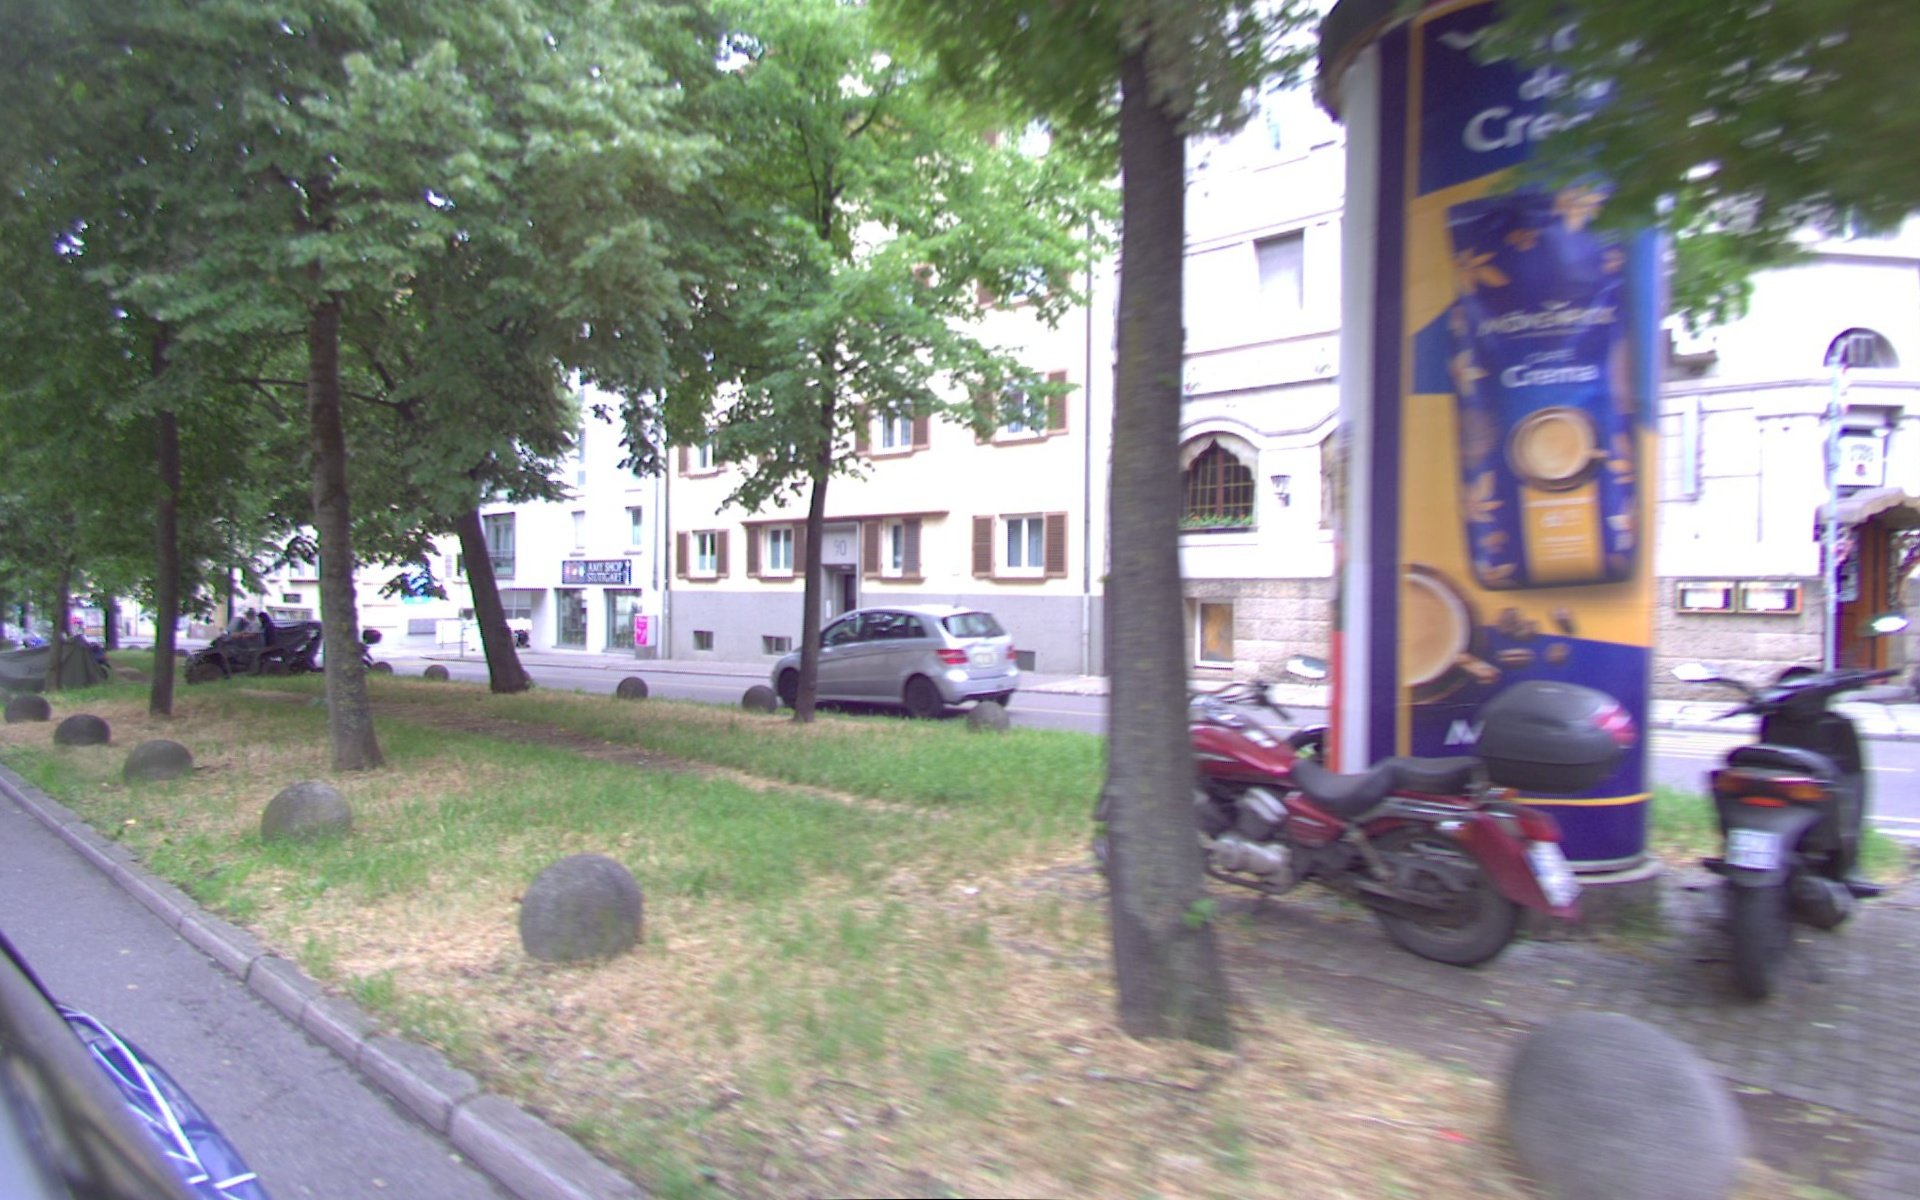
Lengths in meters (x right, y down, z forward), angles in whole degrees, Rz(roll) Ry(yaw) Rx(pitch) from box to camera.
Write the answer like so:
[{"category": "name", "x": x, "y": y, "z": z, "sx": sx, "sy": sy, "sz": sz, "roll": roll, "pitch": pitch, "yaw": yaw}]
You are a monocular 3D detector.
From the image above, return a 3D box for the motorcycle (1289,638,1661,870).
[{"category": "motorcycle", "x": 3.014, "y": 0.820, "z": 6.079, "sx": 0.740, "sy": 1.081, "sz": 1.853, "roll": -1, "pitch": 1, "yaw": -42}]

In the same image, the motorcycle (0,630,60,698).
[{"category": "motorcycle", "x": -19.374, "y": 1.321, "z": 21.067, "sx": 1.622, "sy": 1.315, "sz": 0.449, "roll": 1, "pitch": 1, "yaw": 30}]

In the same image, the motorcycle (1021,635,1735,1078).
[{"category": "motorcycle", "x": 1.432, "y": 0.750, "z": 4.006, "sx": 0.876, "sy": 1.104, "sz": 2.484, "roll": -1, "pitch": 1, "yaw": -42}]

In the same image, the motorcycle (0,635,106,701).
[{"category": "motorcycle", "x": -17.564, "y": 1.284, "z": 19.207, "sx": 0.454, "sy": 1.140, "sz": 2.015, "roll": 1, "pitch": 1, "yaw": 41}]

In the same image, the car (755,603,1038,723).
[{"category": "car", "x": -1.062, "y": 0.897, "z": 15.447, "sx": 4.251, "sy": 1.575, "sz": 1.795, "roll": -2, "pitch": -2, "yaw": 40}]

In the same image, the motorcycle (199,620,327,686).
[{"category": "motorcycle", "x": -17.009, "y": 1.260, "z": 24.754, "sx": 0.963, "sy": 1.494, "sz": 2.393, "roll": 1, "pitch": -1, "yaw": 41}]

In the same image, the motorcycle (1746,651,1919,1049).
[{"category": "motorcycle", "x": 3.388, "y": 0.793, "z": 3.764, "sx": 0.551, "sy": 1.104, "sz": 1.712, "roll": 1, "pitch": 1, "yaw": 44}]
